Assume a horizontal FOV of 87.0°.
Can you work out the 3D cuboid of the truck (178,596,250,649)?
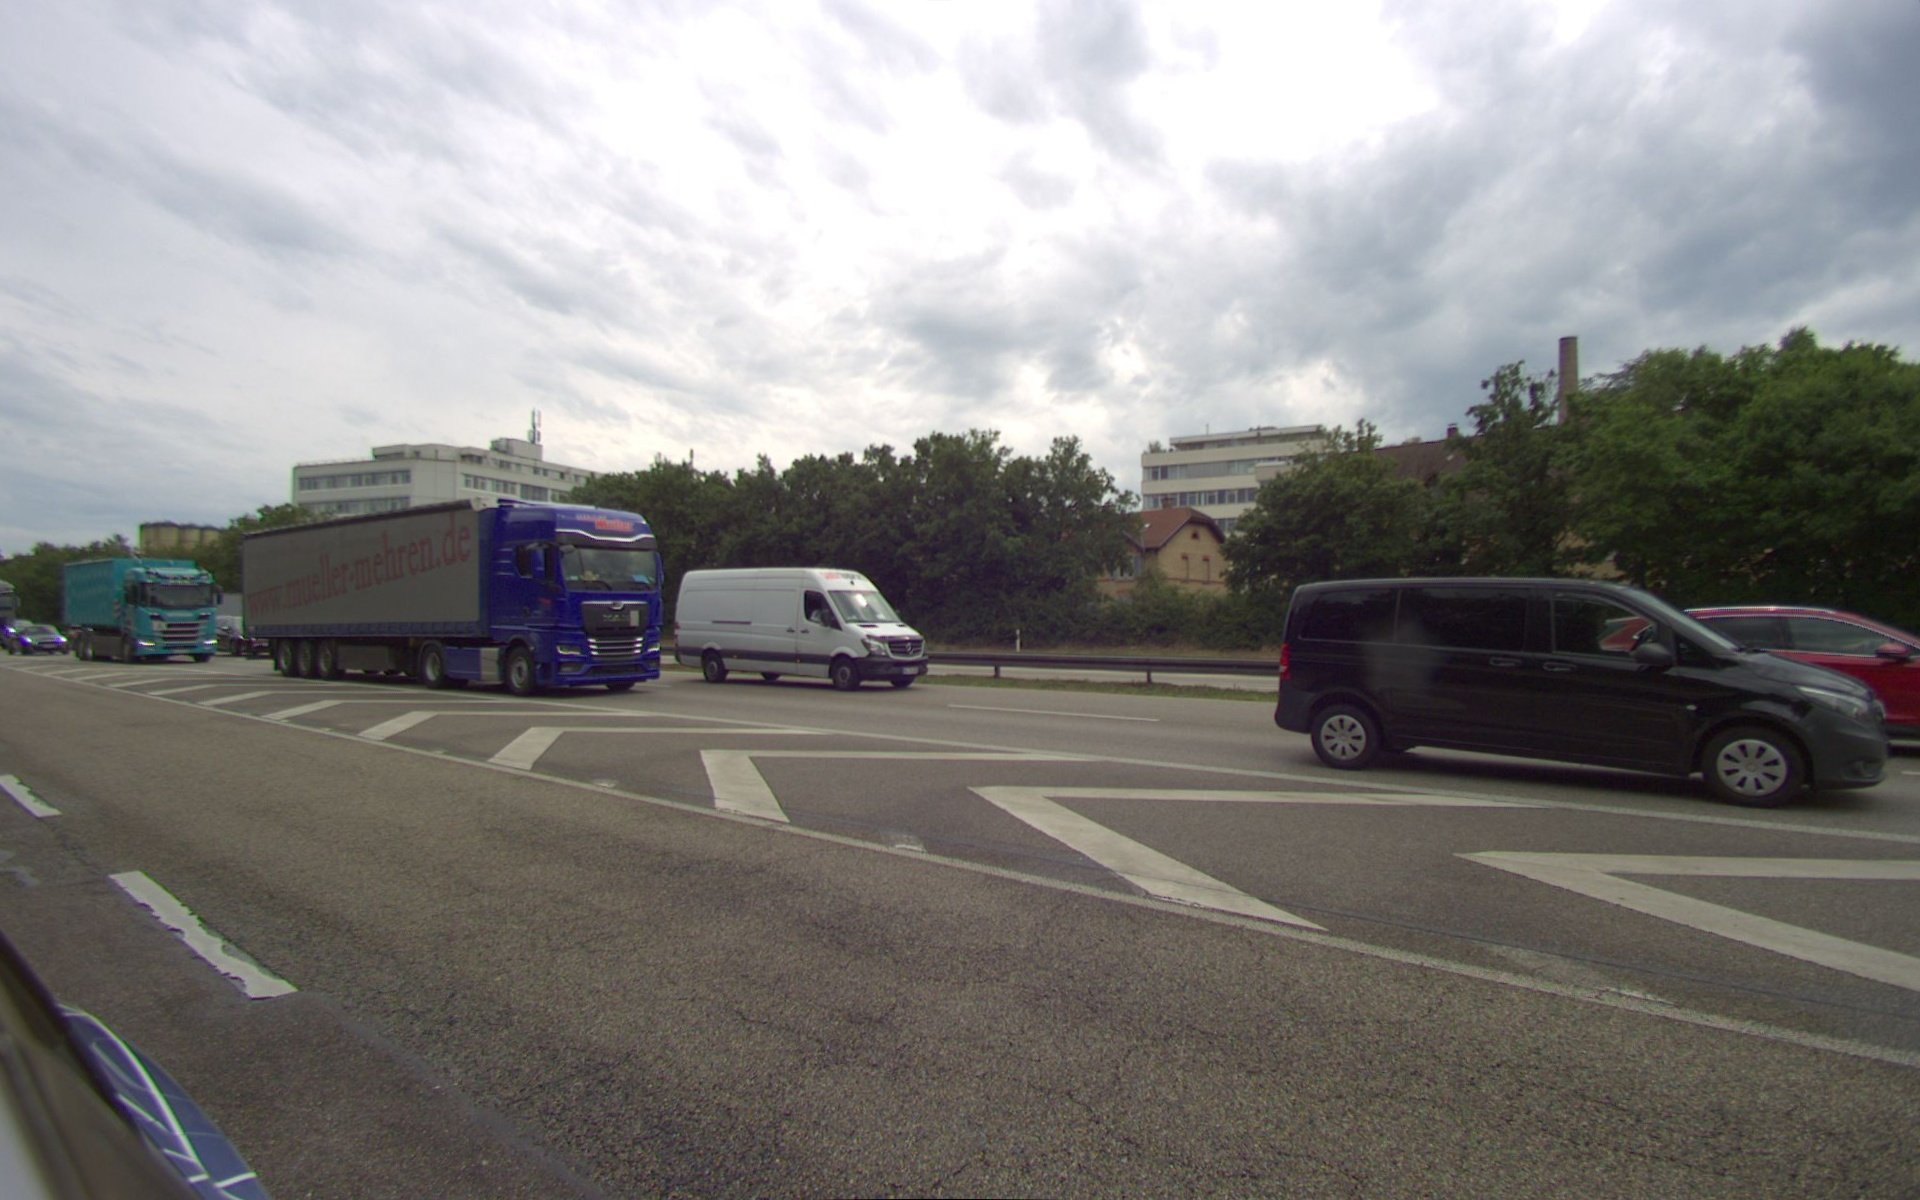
[{"bbox_3d":[-57.165,1.740,77.469,8.103,3.914,2.325,-1,-2,38],"label":"truck"}]

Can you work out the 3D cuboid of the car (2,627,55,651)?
[{"bbox_3d":[-61.969,2.575,67.324,3.243,1.494,1.975,-1,-2,37],"label":"car"}]

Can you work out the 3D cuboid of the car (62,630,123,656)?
[{"bbox_3d":[-50.159,2.479,58.512,4.049,1.444,1.875,-1,-2,37],"label":"car"}]

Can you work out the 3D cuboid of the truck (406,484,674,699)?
[{"bbox_3d":[-9.049,-0.084,21.597,5.917,3.991,2.644,-1,-2,37],"label":"truck"}]

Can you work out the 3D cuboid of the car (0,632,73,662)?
[{"bbox_3d":[-43.767,2.205,47.940,3.991,1.332,1.737,-1,-2,35],"label":"car"}]

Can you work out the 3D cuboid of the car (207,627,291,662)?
[{"bbox_3d":[-31.041,1.918,44.141,3.993,1.444,1.875,-1,-2,37],"label":"car"}]

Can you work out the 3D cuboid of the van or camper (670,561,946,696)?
[{"bbox_3d":[-3.613,0.637,22.805,6.948,2.641,2.029,-1,-2,39],"label":"van or camper"}]

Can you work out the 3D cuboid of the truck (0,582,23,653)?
[{"bbox_3d":[-58.833,1.067,59.393,13.121,3.955,3.289,-1,-2,37],"label":"truck"}]

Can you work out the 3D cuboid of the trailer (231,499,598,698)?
[{"bbox_3d":[-14.381,0.106,25.635,13.896,4.005,2.648,-1,-2,37],"label":"trailer"}]

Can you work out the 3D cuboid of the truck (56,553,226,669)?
[{"bbox_3d":[-31.975,0.508,39.323,10.106,4.031,2.669,-1,-2,37],"label":"truck"}]

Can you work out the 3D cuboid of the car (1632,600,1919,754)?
[{"bbox_3d":[10.059,0.825,11.391,3.944,1.579,1.747,-2,-2,42],"label":"car"}]

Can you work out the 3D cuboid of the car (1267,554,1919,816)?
[{"bbox_3d":[5.602,0.665,9.522,4.807,1.865,1.973,-1,-2,40],"label":"car"}]
